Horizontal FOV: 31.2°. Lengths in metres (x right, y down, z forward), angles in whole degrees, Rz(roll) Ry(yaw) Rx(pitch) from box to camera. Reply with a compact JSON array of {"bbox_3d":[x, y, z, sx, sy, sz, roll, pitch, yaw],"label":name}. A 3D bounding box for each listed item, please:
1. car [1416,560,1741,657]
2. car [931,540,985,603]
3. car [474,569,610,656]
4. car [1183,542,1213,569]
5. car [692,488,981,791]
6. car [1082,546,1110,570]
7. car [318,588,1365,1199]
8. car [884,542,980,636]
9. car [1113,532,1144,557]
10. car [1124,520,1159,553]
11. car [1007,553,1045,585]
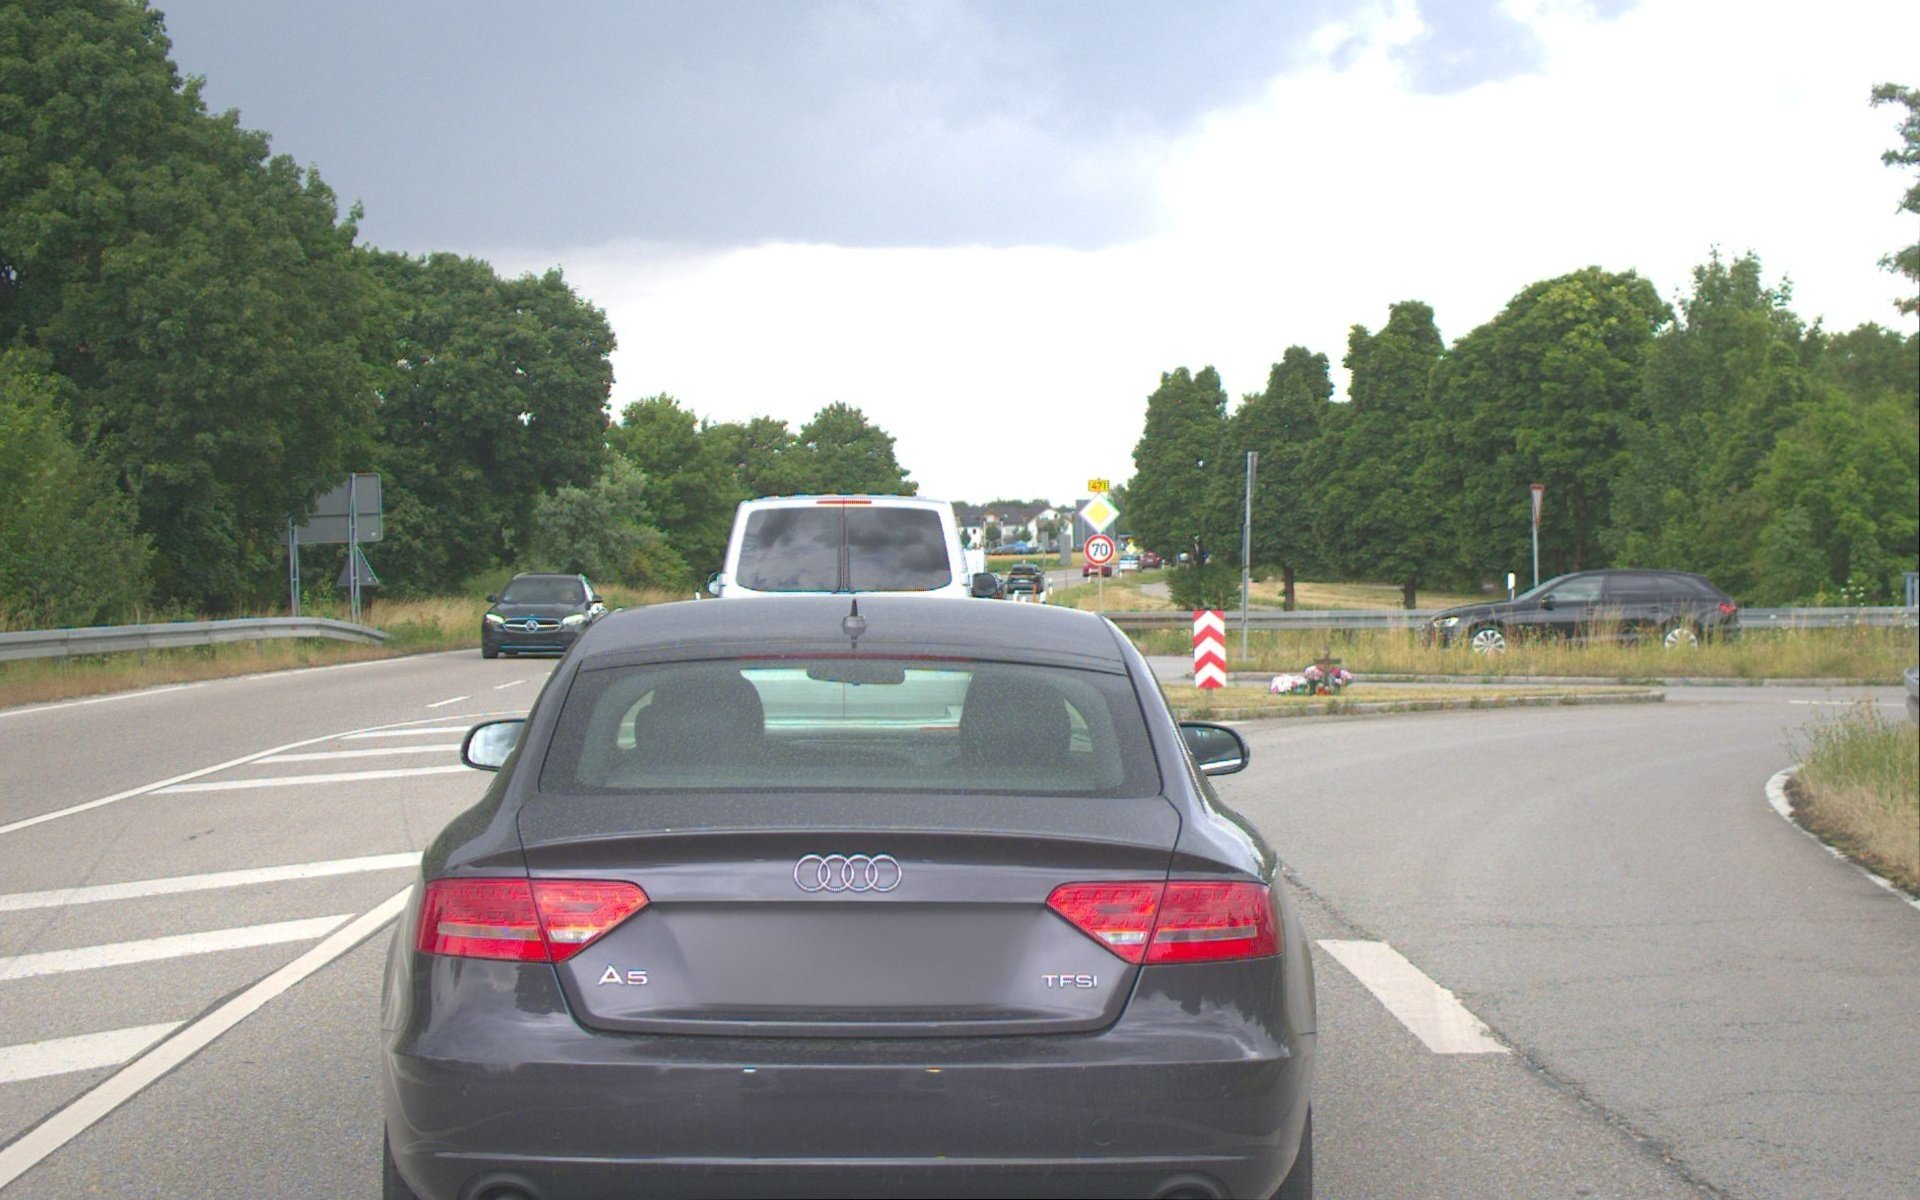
[{"bbox_3d":[9.164,0.101,50.916,4.568,1.329,1.700,1,1,16],"label":"car"},{"bbox_3d":[-0.065,-1.161,135.908,1.993,2.400,4.000,2,1,0],"label":"car"},{"bbox_3d":[-7.155,0.195,59.093,1.798,1.393,3.483,1,1,2],"label":"car"},{"bbox_3d":[15.578,-2.898,224.561,1.876,1.686,4.000,1,1,5],"label":"car"},{"bbox_3d":[-0.868,0.222,24.931,1.910,2.007,4.000,0,1,-1],"label":"car"},{"bbox_3d":[9.890,-3.038,250.047,1.993,1.686,4.000,1,1,1],"label":"car"},{"bbox_3d":[-0.245,0.690,7.518,1.779,1.394,3.337,0,1,-2],"label":"car"},{"bbox_3d":[-0.610,-0.291,79.160,2.081,2.057,4.876,1,1,1],"label":"car"},{"bbox_3d":[11.357,-3.753,231.557,1.993,1.686,4.000,1,1,1],"label":"car"},{"bbox_3d":[11.221,-3.908,212.559,1.993,2.007,4.000,1,1,1],"label":"car"},{"bbox_3d":[3.688,-1.718,190.885,1.994,1.686,4.000,1,1,2],"label":"car"}]
